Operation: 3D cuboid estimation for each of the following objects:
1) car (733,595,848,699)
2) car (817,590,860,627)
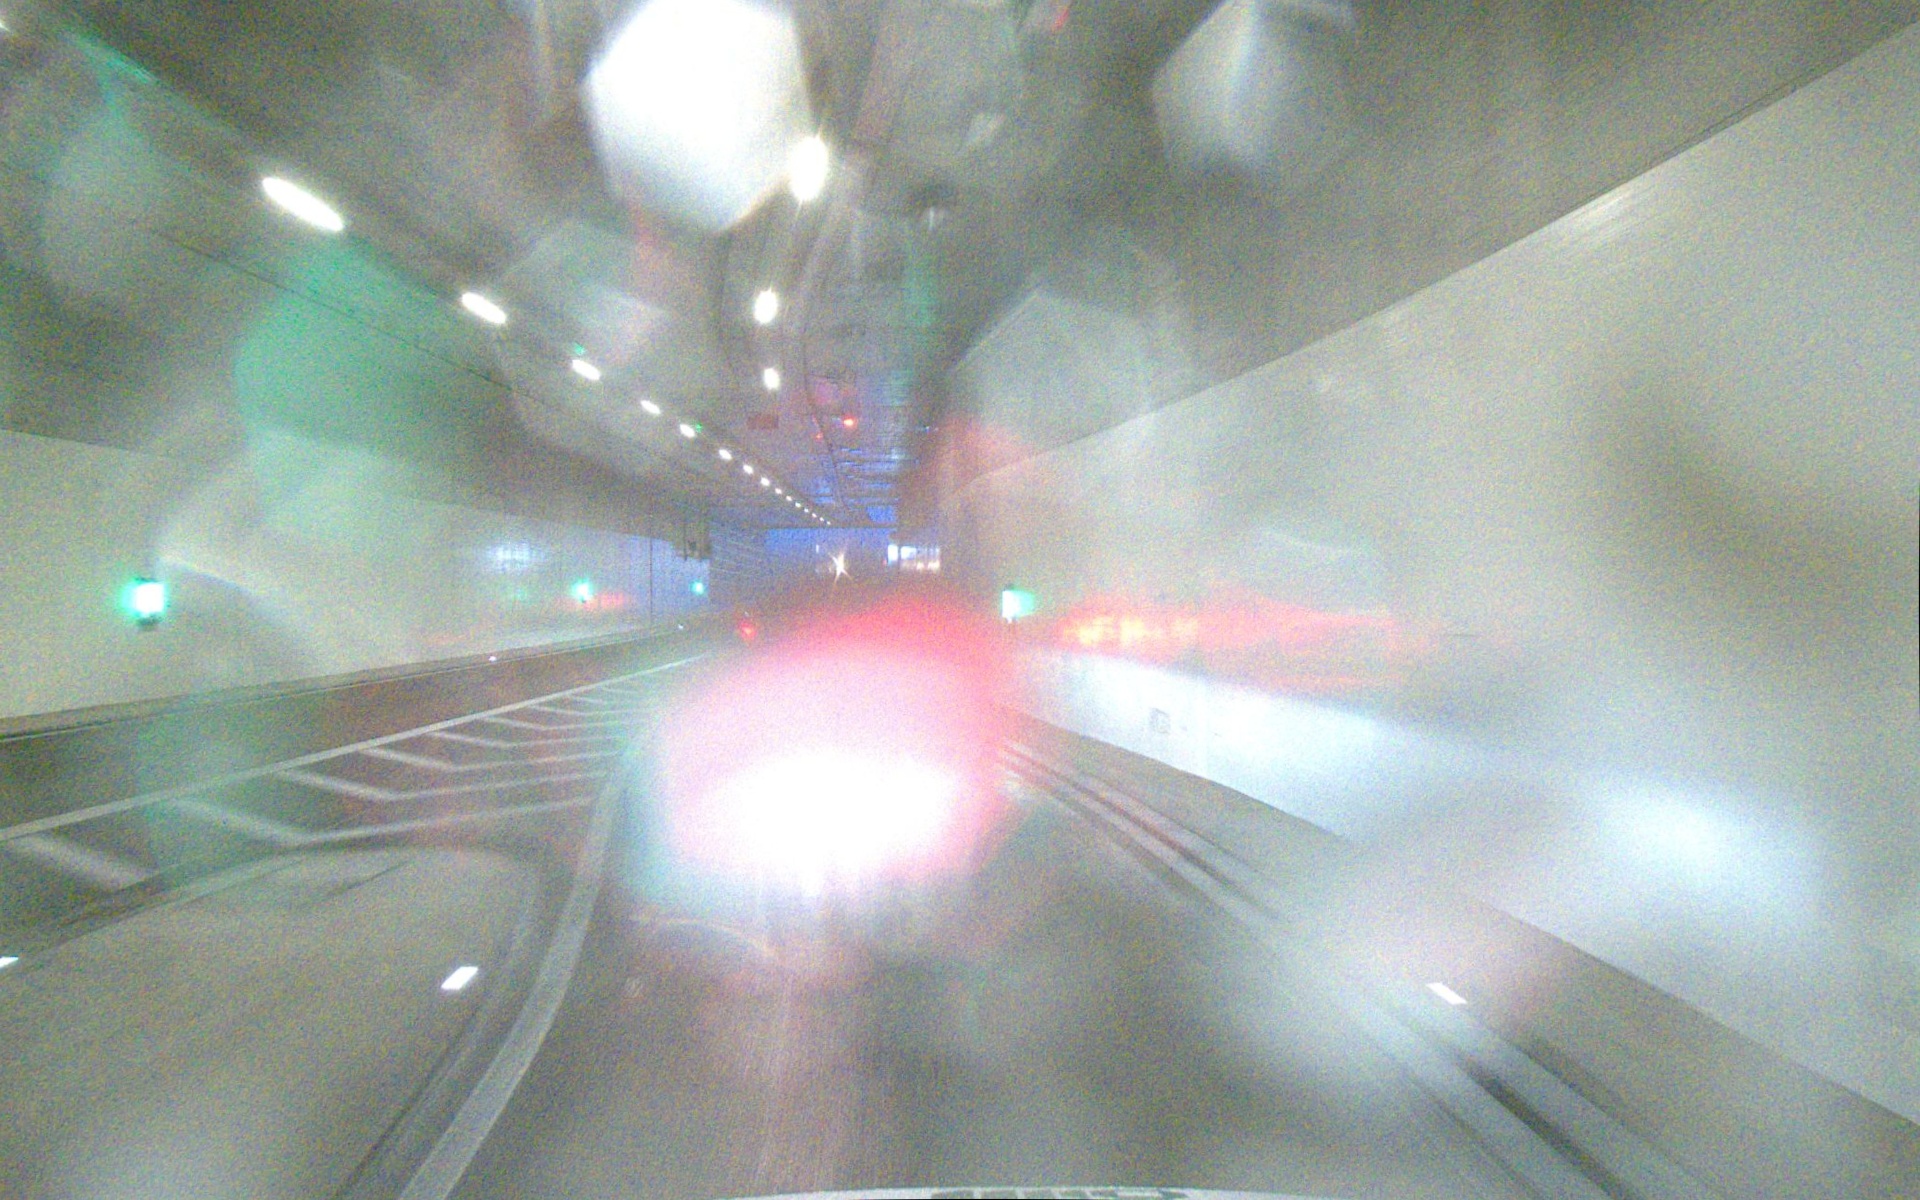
[{"bbox_3d":[-2.570,0.660,24.565,1.503,1.422,3.426,1,0,-9],"label":"car"},{"bbox_3d":[-5.647,0.408,77.128,1.842,1.649,3.998,1,-1,-2],"label":"car"}]
